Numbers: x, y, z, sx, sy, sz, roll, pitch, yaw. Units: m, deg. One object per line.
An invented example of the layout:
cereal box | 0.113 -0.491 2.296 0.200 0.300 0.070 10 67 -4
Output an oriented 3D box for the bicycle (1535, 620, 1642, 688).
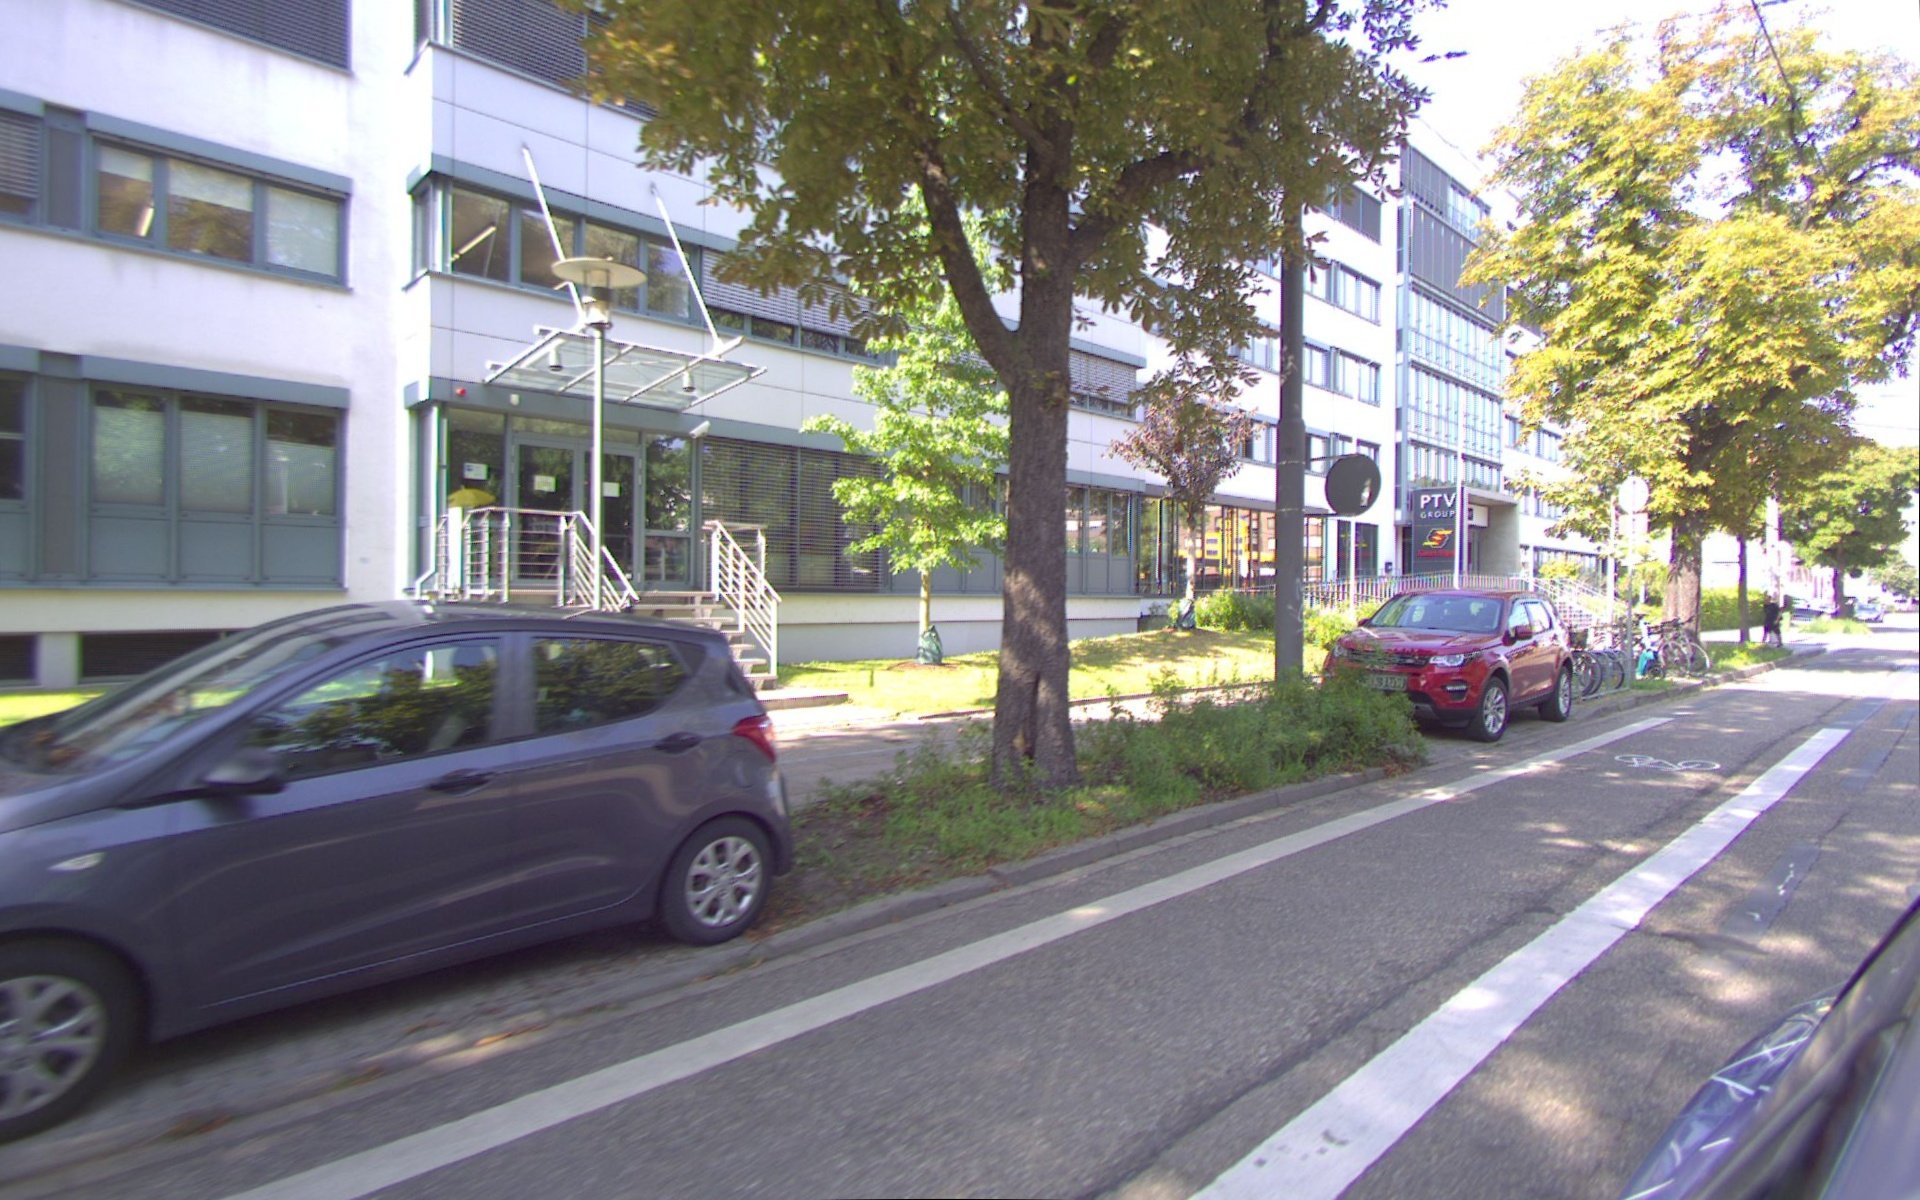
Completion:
bicycle | 10.367 0.870 16.721 1.456 1.027 0.376 1 0 44

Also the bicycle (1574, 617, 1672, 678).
bicycle | 12.115 0.849 18.512 1.456 1.027 0.376 1 0 44

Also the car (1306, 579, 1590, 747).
car | 6.082 0.604 12.385 1.863 1.673 4.116 2 2 45

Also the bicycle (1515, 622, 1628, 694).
bicycle | 9.504 0.883 15.757 1.456 1.027 0.376 1 0 44

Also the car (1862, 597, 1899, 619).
car | 72.521 0.608 79.711 3.930 1.627 1.754 -1 0 -41

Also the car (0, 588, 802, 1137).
car | -2.531 0.720 4.084 1.563 1.459 3.508 4 3 44

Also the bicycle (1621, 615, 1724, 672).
bicycle | 13.905 0.826 19.790 1.617 1.027 0.376 1 0 44

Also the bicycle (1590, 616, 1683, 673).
bicycle | 12.965 0.835 19.423 1.456 1.027 0.376 1 0 44

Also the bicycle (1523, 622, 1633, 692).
bicycle | 9.805 0.879 16.085 1.456 1.027 0.376 1 0 44

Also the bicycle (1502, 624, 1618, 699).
bicycle | 8.951 0.892 15.138 1.456 1.027 0.376 1 0 44

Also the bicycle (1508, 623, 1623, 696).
bicycle | 9.221 0.888 15.445 1.456 1.027 0.376 1 0 44

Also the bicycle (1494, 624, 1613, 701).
bicycle | 8.675 0.891 14.822 1.456 1.027 0.376 1 0 44

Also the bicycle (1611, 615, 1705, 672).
bicycle | 13.472 0.831 19.567 1.456 1.027 0.376 1 0 44

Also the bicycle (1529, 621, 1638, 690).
bicycle | 10.100 0.874 16.418 1.456 1.027 0.376 1 0 44
